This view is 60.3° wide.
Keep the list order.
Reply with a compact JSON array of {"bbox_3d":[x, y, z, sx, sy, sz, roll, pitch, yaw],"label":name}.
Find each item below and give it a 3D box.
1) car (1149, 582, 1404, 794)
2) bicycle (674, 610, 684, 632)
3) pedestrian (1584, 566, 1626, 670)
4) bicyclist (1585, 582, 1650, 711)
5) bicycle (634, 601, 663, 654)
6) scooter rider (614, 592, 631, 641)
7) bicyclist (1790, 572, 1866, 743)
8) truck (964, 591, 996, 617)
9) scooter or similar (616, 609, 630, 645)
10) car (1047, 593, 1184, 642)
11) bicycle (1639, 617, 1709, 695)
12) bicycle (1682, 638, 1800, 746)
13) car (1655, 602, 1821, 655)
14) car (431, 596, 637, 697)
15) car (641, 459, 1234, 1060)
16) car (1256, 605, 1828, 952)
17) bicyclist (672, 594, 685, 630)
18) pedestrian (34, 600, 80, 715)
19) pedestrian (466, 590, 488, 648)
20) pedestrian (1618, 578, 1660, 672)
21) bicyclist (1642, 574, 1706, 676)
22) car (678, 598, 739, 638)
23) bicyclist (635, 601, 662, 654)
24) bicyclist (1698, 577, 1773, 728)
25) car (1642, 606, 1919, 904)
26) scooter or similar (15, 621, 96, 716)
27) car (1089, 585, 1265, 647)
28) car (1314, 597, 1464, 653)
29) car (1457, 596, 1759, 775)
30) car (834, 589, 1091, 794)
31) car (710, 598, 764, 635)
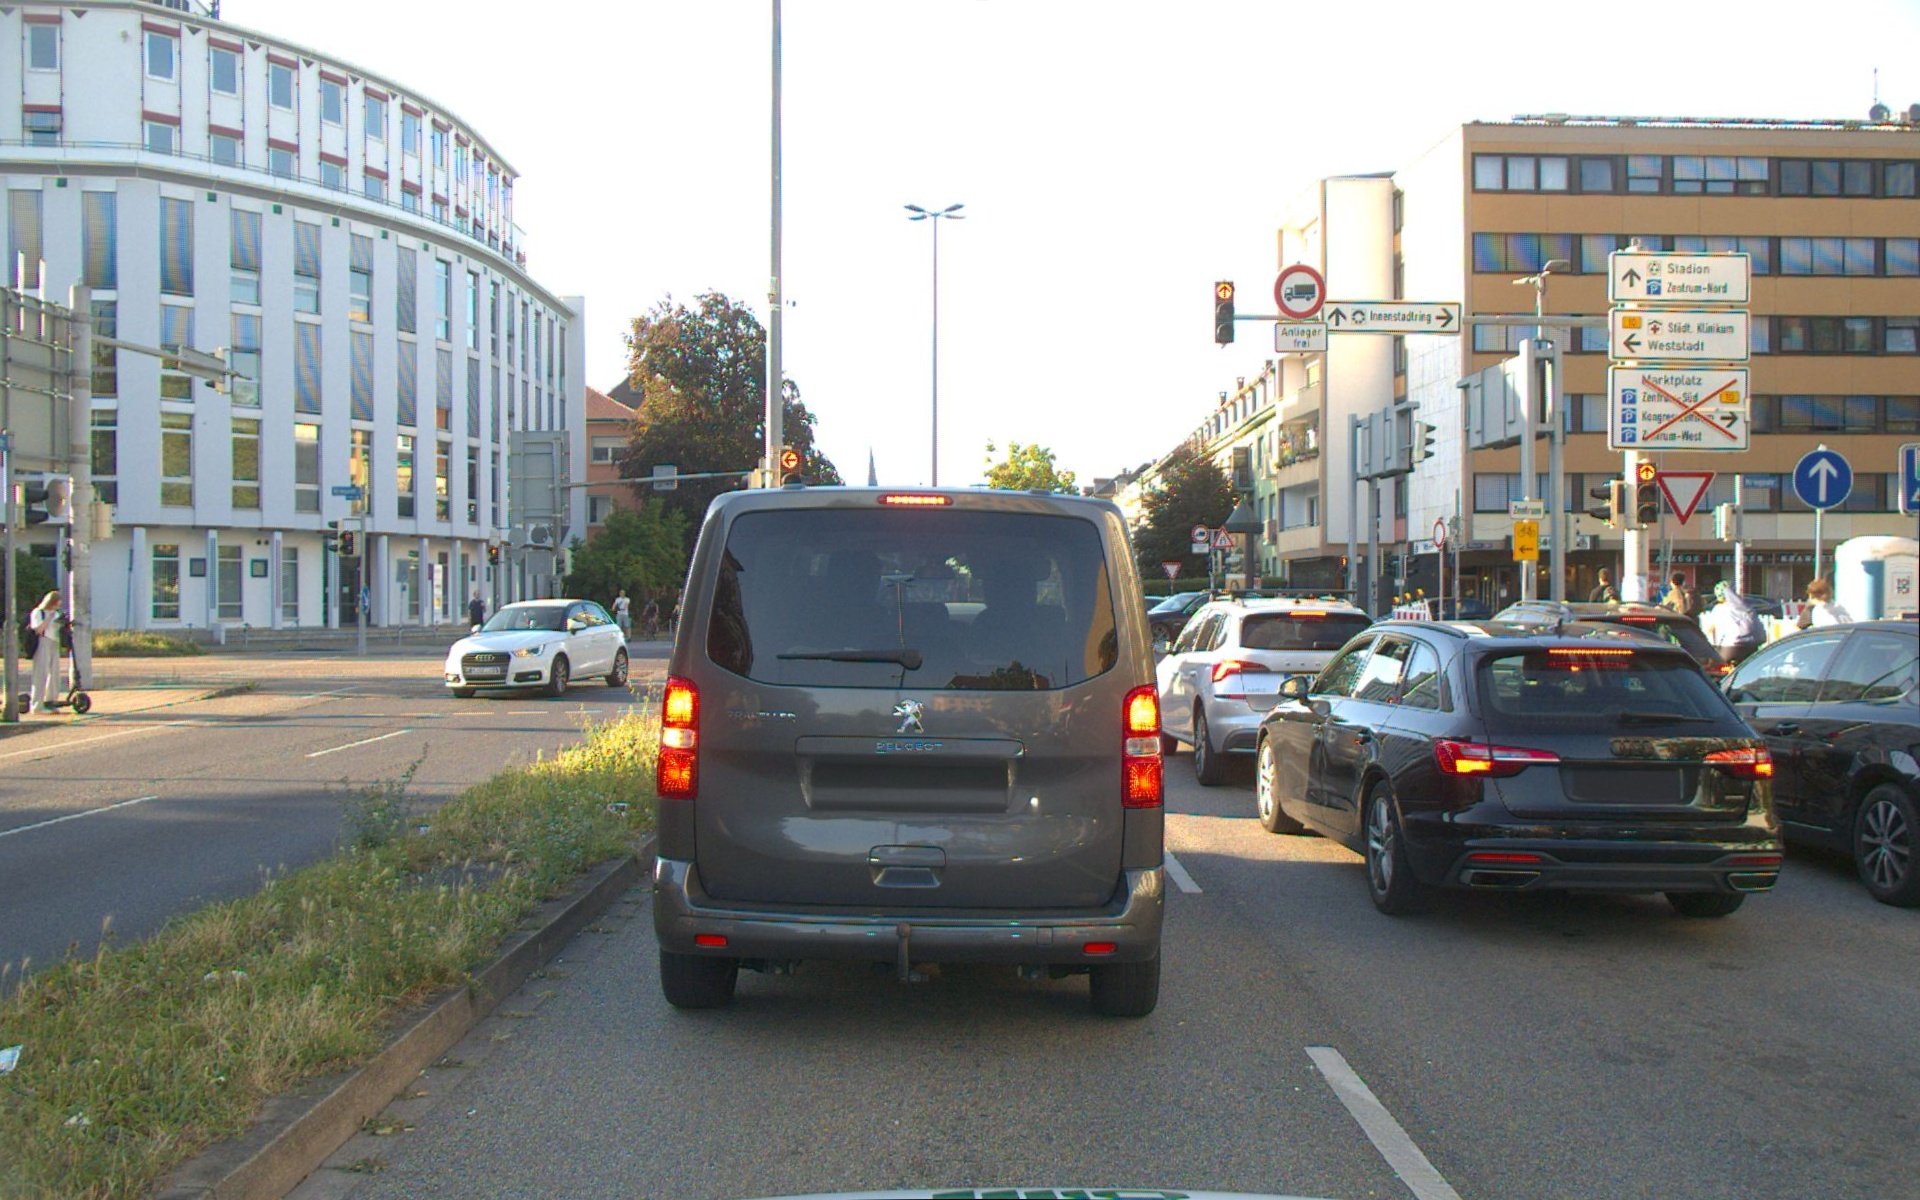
[{"bbox_3d":[2.710,0.686,14.891,1.498,1.641,3.744,1,0,-1],"label":"car"},{"bbox_3d":[-12.282,0.906,72.253,0.285,0.965,1.072,0,0,-1],"label":"bicycle"},{"bbox_3d":[11.718,0.327,30.059,0.558,1.866,0.487,0,0,1],"label":"pedestrian"},{"bbox_3d":[8.071,0.561,20.317,0.503,1.552,0.725,0,0,-1],"label":"bicyclist"},{"bbox_3d":[-12.402,1.074,65.910,0.700,2.049,2.563,0,0,-1],"label":"bicycle"},{"bbox_3d":[-11.849,0.584,58.136,0.471,1.727,0.636,0,0,-1],"label":"scooter rider"},{"bbox_3d":[7.981,0.518,15.222,0.432,1.552,0.482,0,0,-1],"label":"bicyclist"},{"bbox_3d":[1.691,0.312,138.439,2.082,2.123,4.635,0,0,9],"label":"truck"},{"bbox_3d":[-11.855,0.943,58.221,0.279,1.209,1.169,0,0,-1],"label":"scooter or similar"},{"bbox_3d":[4.505,0.492,48.210,3.709,1.396,1.648,0,0,-7],"label":"car"},{"bbox_3d":[11.514,0.883,26.702,0.365,1.181,1.498,1,1,-4],"label":"bicycle"},{"bbox_3d":[8.139,0.931,17.300,0.329,1.025,1.855,0,0,-1],"label":"bicycle"},{"bbox_3d":[21.881,0.789,46.591,3.905,1.443,1.681,0,0,0],"label":"car"},{"bbox_3d":[-6.542,0.675,25.791,1.655,1.412,3.690,-2,0,11],"label":"car"},{"bbox_3d":[-0.102,0.510,7.572,1.868,1.896,4.525,1,0,-1],"label":"car"},{"bbox_3d":[2.895,0.779,9.251,1.647,1.446,4.213,1,0,-1],"label":"car"},{"bbox_3d":[-12.295,0.512,72.272,0.453,1.548,0.469,0,0,-1],"label":"bicyclist"},{"bbox_3d":[-12.229,0.771,22.397,0.466,1.532,0.334,0,0,-13],"label":"pedestrian"},{"bbox_3d":[-14.802,0.585,50.672,0.615,1.752,0.669,0,0,-15],"label":"pedestrian"},{"bbox_3d":[12.418,0.447,30.259,0.589,1.700,0.454,0,0,1],"label":"pedestrian"},{"bbox_3d":[11.541,0.387,26.754,0.606,1.616,0.813,1,1,-5],"label":"bicyclist"},{"bbox_3d":[-9.438,0.649,62.312,1.819,1.445,3.998,0,0,-2],"label":"car"},{"bbox_3d":[-12.401,1.097,65.905,0.816,2.049,1.064,1,-1,1],"label":"bicyclist"},{"bbox_3d":[8.143,0.539,17.383,0.432,1.552,0.725,0,0,-1],"label":"bicyclist"},{"bbox_3d":[5.622,0.803,9.750,1.600,1.474,3.744,1,0,-1],"label":"car"},{"bbox_3d":[-12.158,0.913,22.254,0.877,1.255,0.370,0,0,-12],"label":"scooter or similar"},{"bbox_3d":[5.505,0.383,42.010,4.168,1.467,1.692,-1,0,-22],"label":"car"},{"bbox_3d":[12.935,0.741,49.986,4.039,1.622,1.793,0,0,-6],"label":"car"},{"bbox_3d":[5.896,0.709,15.424,1.474,1.474,3.304,0,0,-1],"label":"car"},{"bbox_3d":[-0.009,0.690,14.609,1.953,1.557,3.999,0,0,-1],"label":"car"},{"bbox_3d":[-9.135,0.638,67.884,1.819,1.445,3.998,0,0,-2],"label":"car"}]
